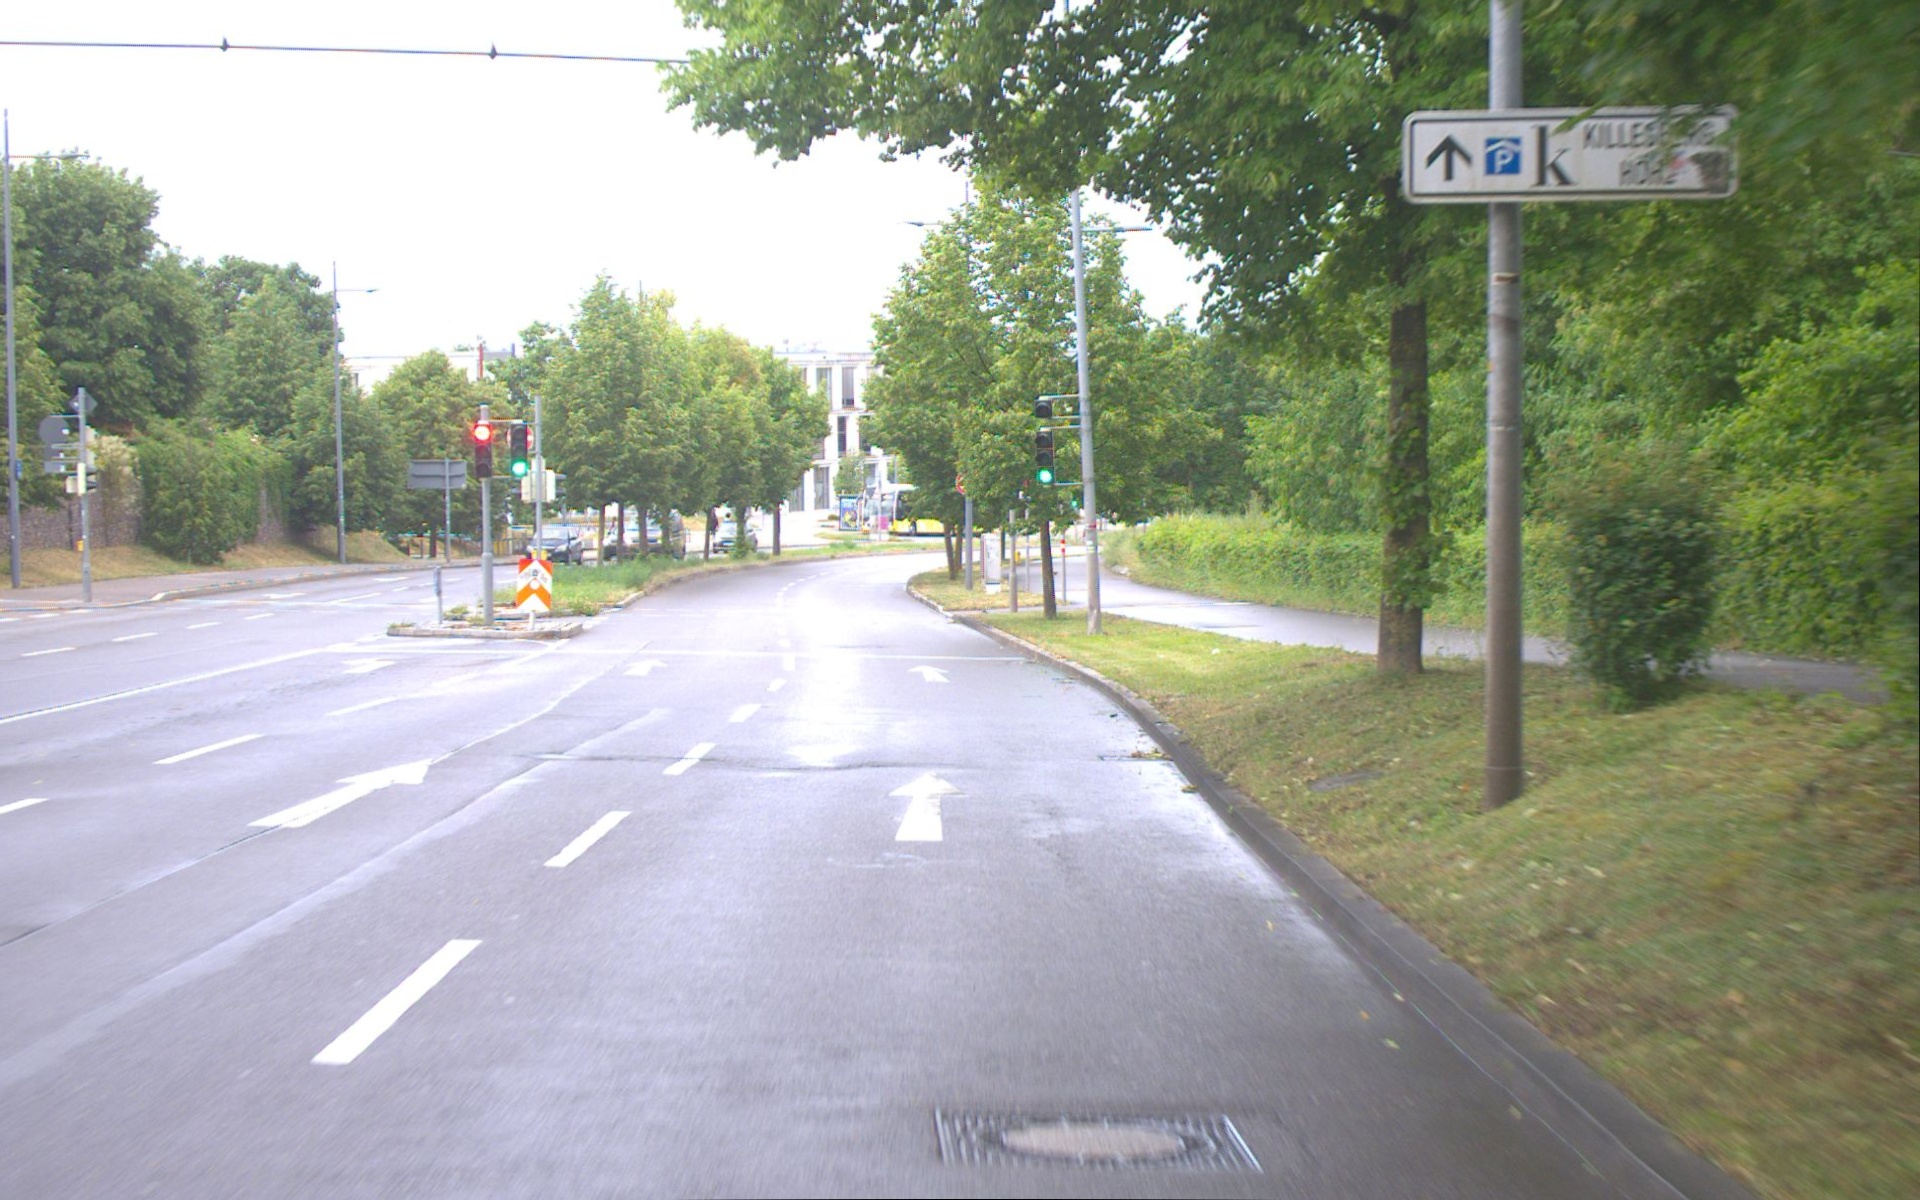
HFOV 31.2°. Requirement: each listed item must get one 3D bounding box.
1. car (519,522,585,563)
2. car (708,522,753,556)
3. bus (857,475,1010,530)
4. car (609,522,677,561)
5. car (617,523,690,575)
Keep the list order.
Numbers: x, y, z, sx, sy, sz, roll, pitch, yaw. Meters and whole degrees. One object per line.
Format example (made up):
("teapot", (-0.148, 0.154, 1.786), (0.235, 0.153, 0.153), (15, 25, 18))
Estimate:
("car", (-15.212, -2.153, 128.213), (1.598, 1.484, 3.999), (1, 1, 6))
("car", (-11.000, -2.938, 165.210), (1.687, 1.534, 2.916), (1, 2, 6))
("bus", (-1.598, -6.539, 232.207), (2.788, 3.345, 18.202), (1, 1, 25))
("car", (-13.306, -2.469, 144.325), (1.881, 1.589, 4.766), (1, 1, 6))
("car", (-11.644, -1.957, 130.789), (2.014, 1.912, 5.095), (0, 1, 4))
